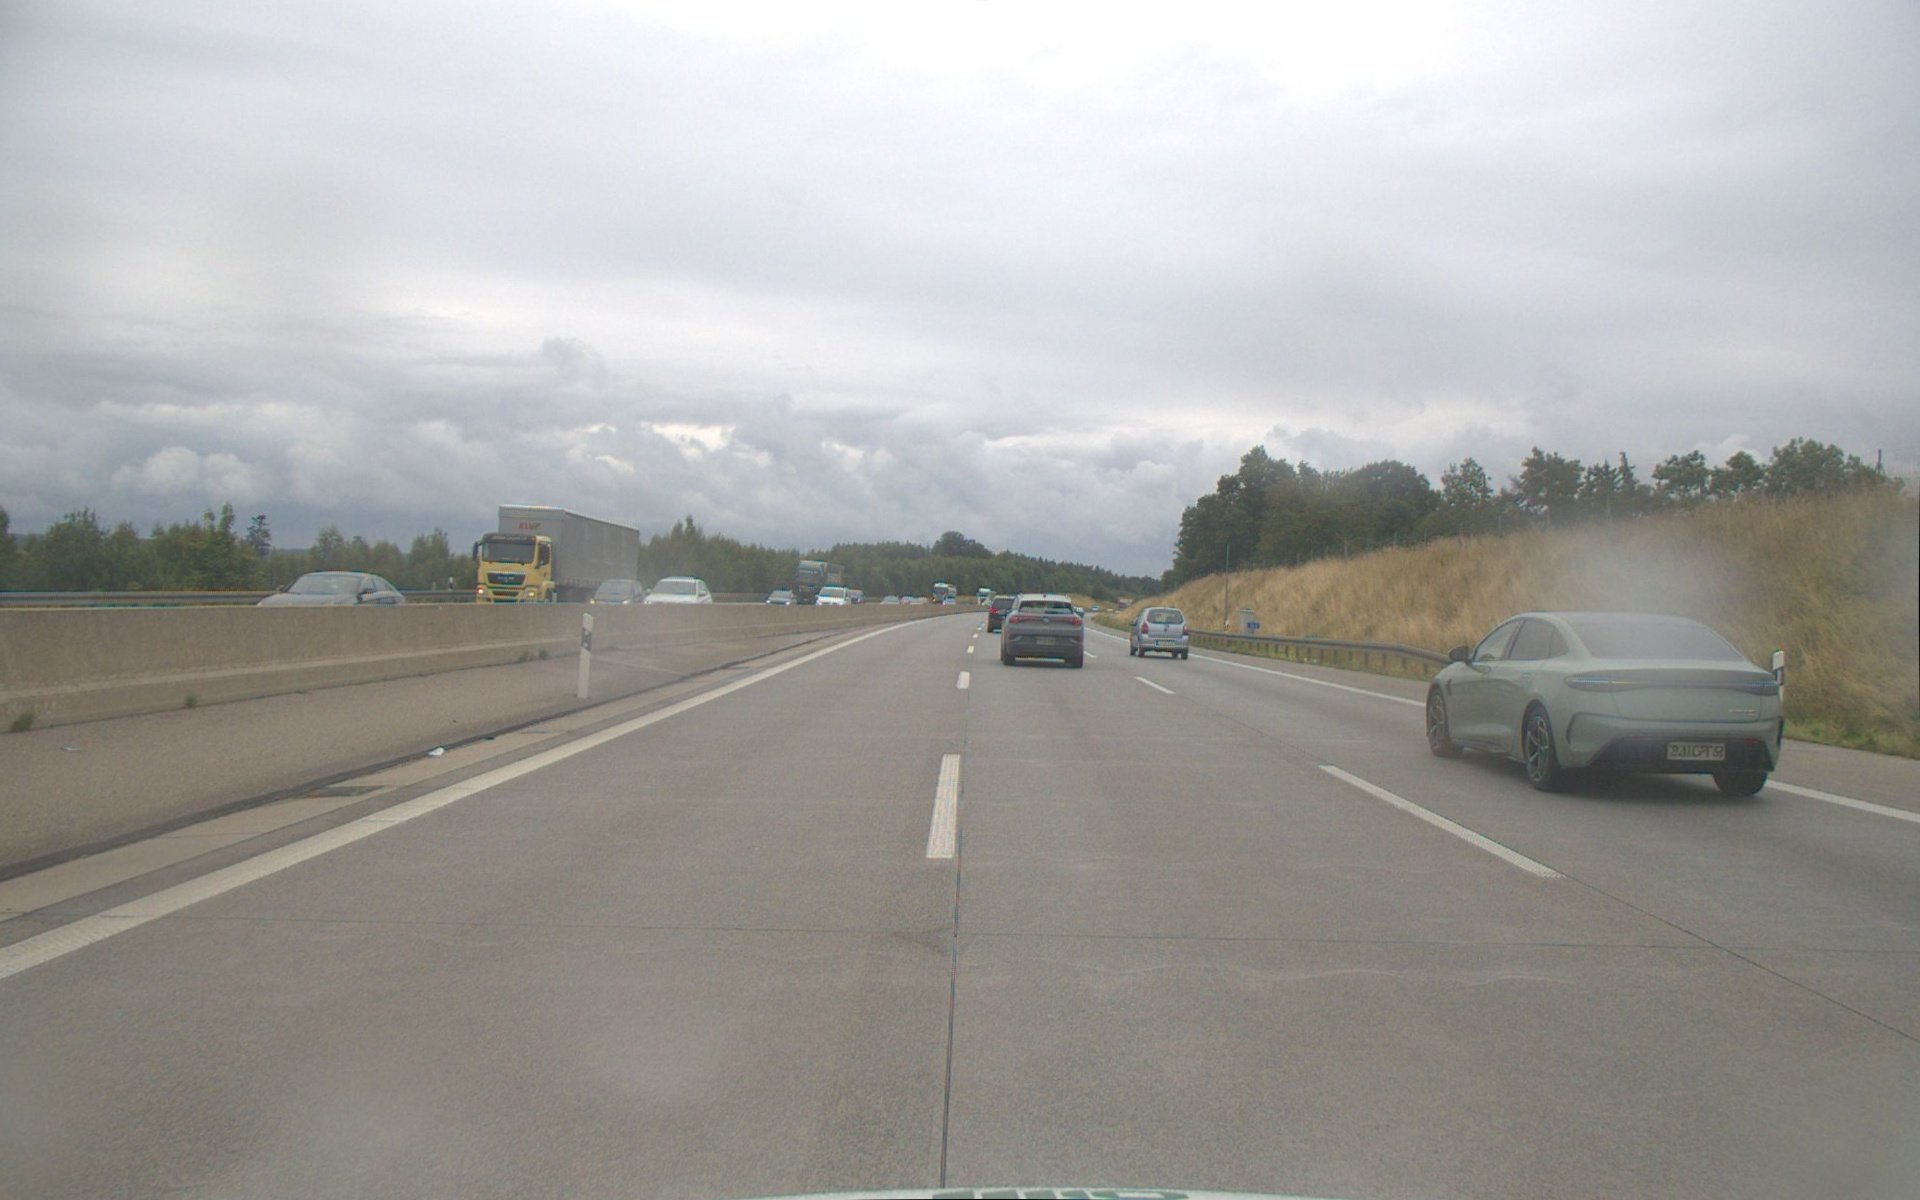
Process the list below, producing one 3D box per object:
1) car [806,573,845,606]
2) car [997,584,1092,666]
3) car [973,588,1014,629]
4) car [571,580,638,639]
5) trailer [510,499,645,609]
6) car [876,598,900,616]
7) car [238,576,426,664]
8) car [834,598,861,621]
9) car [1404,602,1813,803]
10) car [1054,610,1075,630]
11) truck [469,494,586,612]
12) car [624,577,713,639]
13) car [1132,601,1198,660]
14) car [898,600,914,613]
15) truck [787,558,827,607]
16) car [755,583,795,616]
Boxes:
[{"bbox_3d":[-8.647,-0.700,106.698,1.875,2.048,5.925,1,1,1],"label":"car"},{"bbox_3d":[1.905,0.529,38.843,1.859,1.719,5.266,1,1,-1],"label":"car"},{"bbox_3d":[1.559,0.353,76.397,1.748,1.777,3.917,1,1,3],"label":"car"},{"bbox_3d":[-13.097,0.310,61.161,1.612,2.048,4.000,1,1,-1],"label":"car"},{"bbox_3d":[-16.288,-1.936,71.477,2.858,4.291,11.875,1,1,1],"label":"trailer"},{"bbox_3d":[-6.455,0.609,148.801,1.953,1.545,4.397,1,1,0],"label":"car"},{"bbox_3d":[-13.040,0.370,34.740,1.993,1.696,5.268,1,0,-1],"label":"car"},{"bbox_3d":[-10.382,0.857,152.644,1.952,2.008,5.332,1,1,1],"label":"car"},{"bbox_3d":[5.799,0.819,15.541,1.973,1.471,4.745,1,1,0],"label":"car"},{"bbox_3d":[8.598,1.641,135.751,1.455,1.496,3.505,3,1,0],"label":"car"},{"bbox_3d":[-16.384,-1.775,63.053,2.872,4.253,5.858,1,1,0],"label":"truck"},{"bbox_3d":[-9.374,0.236,53.514,1.992,1.900,4.604,1,0,0],"label":"car"},{"bbox_3d":[6.004,0.867,48.790,1.455,1.496,3.505,3,1,0],"label":"car"},{"bbox_3d":[-6.955,0.884,211.963,1.682,1.534,4.487,2,-1,2],"label":"car"},{"bbox_3d":[-14.301,-1.680,154.857,2.732,4.336,6.051,4,1,2],"label":"truck"},{"bbox_3d":[-12.204,-0.090,109.327,1.875,2.048,5.925,1,1,1],"label":"car"}]
